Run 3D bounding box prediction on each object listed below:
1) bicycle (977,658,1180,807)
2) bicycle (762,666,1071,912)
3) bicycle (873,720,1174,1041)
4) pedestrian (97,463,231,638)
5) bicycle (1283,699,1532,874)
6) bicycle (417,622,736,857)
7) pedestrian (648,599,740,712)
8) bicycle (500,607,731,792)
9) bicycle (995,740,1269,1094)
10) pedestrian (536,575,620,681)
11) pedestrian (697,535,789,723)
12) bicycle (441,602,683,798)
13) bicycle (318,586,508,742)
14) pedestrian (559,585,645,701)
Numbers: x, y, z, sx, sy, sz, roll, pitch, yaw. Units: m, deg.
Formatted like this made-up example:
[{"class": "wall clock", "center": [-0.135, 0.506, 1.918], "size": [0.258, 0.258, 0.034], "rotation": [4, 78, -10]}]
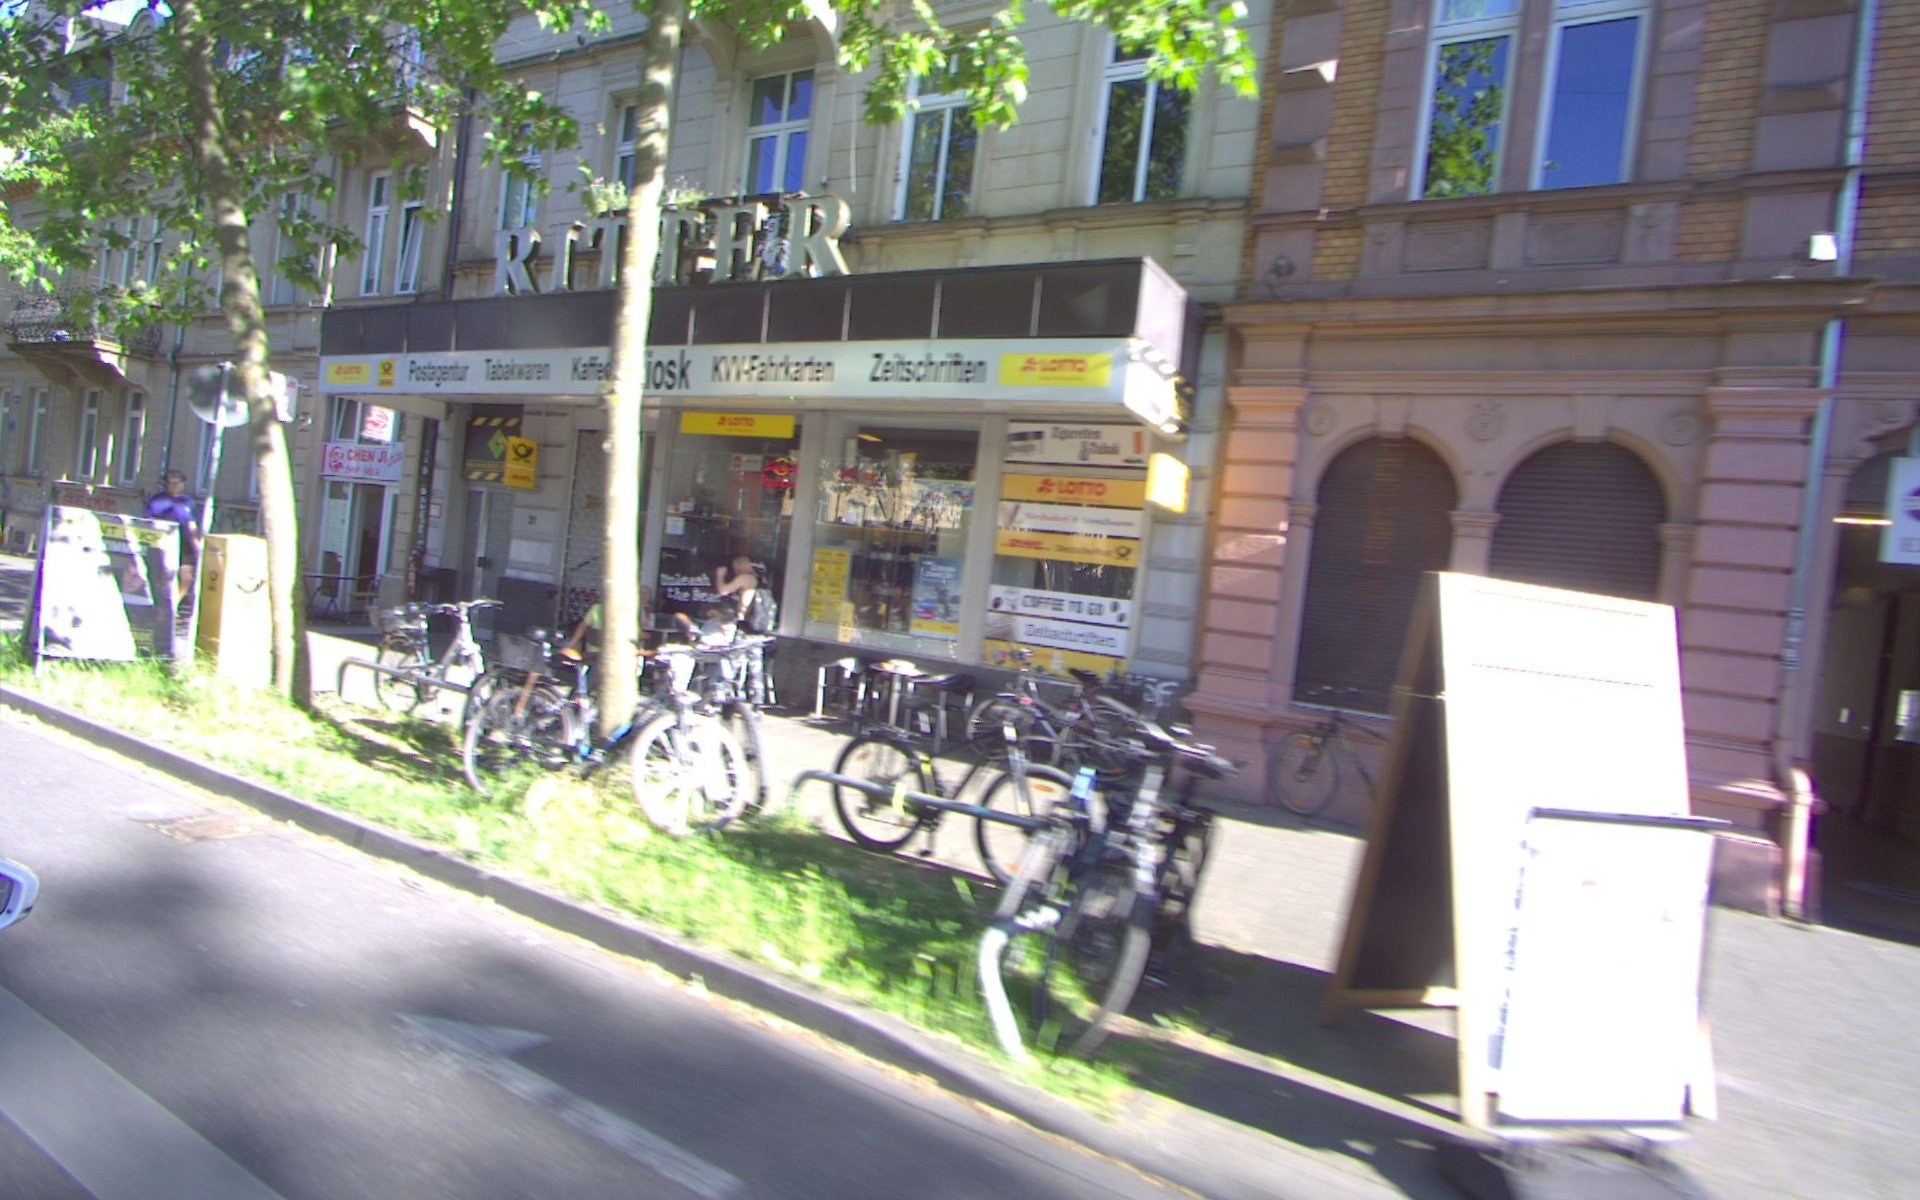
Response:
[{"class": "bicycle", "center": [1.057, 1.170, 9.139], "size": [1.659, 1.005, 0.444], "rotation": [9, 0, 28]}, {"class": "bicycle", "center": [-0.280, 1.025, 5.799], "size": [1.659, 1.005, 0.444], "rotation": [9, 0, 28]}, {"class": "bicycle", "center": [0.401, 1.080, 4.448], "size": [0.436, 1.004, 2.020], "rotation": [9, -1, 27]}, {"class": "pedestrian", "center": [-10.125, -0.622, 12.806], "size": [0.842, 2.037, 0.883], "rotation": [9, 0, 33]}, {"class": "bicycle", "center": [3.552, 1.443, 8.060], "size": [1.659, 1.005, 0.444], "rotation": [9, 0, 28]}, {"class": "bicycle", "center": [-2.219, 0.765, 5.823], "size": [1.657, 1.005, 0.444], "rotation": [9, 0, 15]}, {"class": "pedestrian", "center": [-3.044, 0.634, 11.543], "size": [0.599, 1.175, 0.648], "rotation": [9, 0, 18]}, {"class": "bicycle", "center": [-2.503, 0.683, 7.247], "size": [1.659, 1.005, 0.444], "rotation": [9, 0, 28]}, {"class": "bicycle", "center": [0.832, 1.158, 4.233], "size": [0.436, 1.004, 2.009], "rotation": [9, -1, 27]}, {"class": "pedestrian", "center": [-4.682, 0.342, 12.370], "size": [0.662, 1.175, 0.652], "rotation": [9, 0, -7]}, {"class": "pedestrian", "center": [-2.252, 0.275, 10.378], "size": [0.464, 1.832, 0.768], "rotation": [9, 0, -29]}, {"class": "bicycle", "center": [-2.730, 0.644, 6.839], "size": [1.659, 1.005, 0.444], "rotation": [9, 0, 28]}, {"class": "bicycle", "center": [-4.575, 0.512, 8.373], "size": [1.659, 1.005, 0.444], "rotation": [9, 0, 28]}, {"class": "pedestrian", "center": [-3.943, 0.476, 11.122], "size": [0.460, 1.175, 0.774], "rotation": [9, 0, 4]}]
